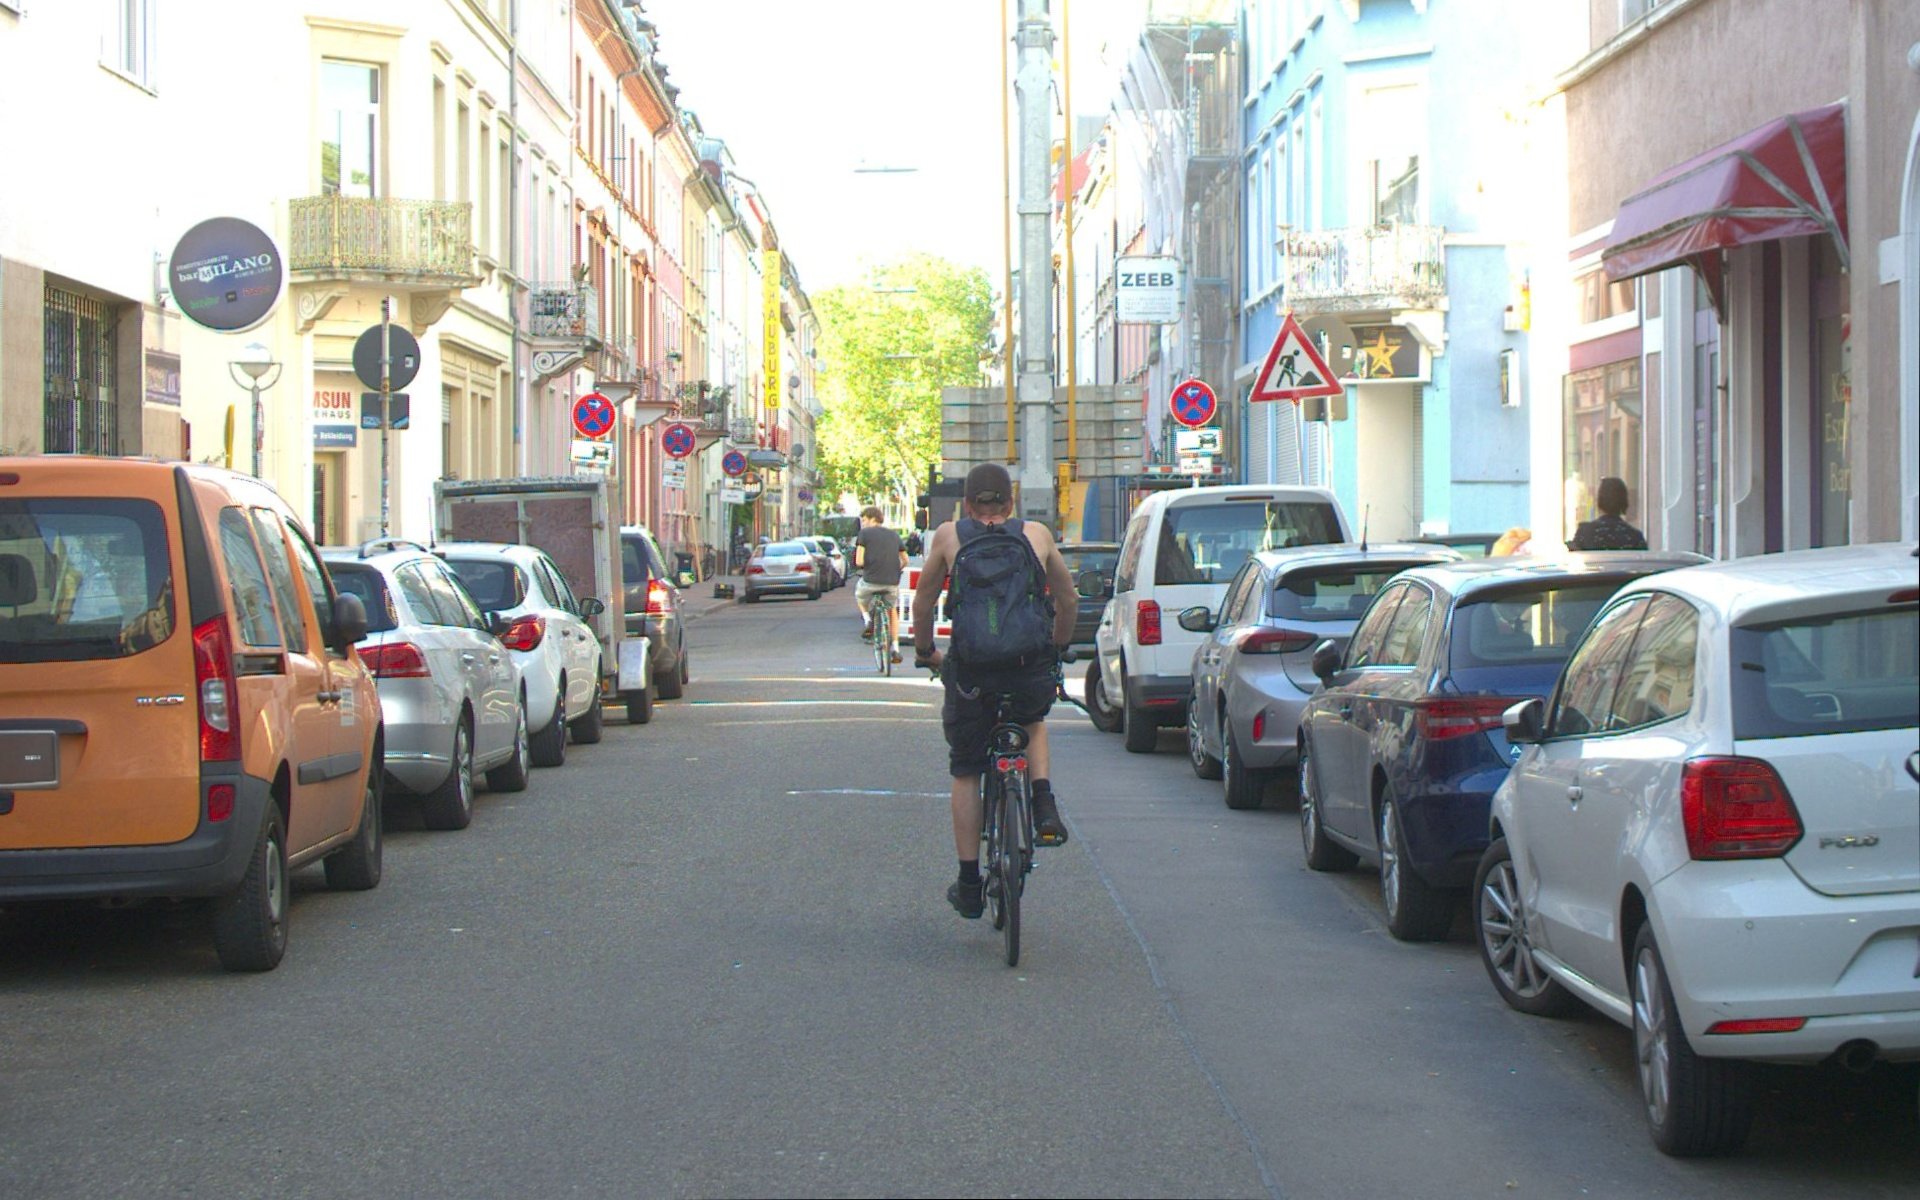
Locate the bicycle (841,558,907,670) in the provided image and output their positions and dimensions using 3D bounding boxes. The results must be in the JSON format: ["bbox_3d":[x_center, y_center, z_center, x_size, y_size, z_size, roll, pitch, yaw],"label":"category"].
[{"bbox_3d":[-0.895,0.130,36.104,0.648,1.125,2.136,1,1,-1],"label":"bicycle"}]

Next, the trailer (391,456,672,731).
[{"bbox_3d":[-3.462,-0.069,28.390,1.882,2.085,3.737,-1,1,-1],"label":"trailer"}]

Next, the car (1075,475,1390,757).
[{"bbox_3d":[1.910,0.085,25.214,1.750,1.872,3.973,-1,1,-3],"label":"car"}]

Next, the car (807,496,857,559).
[{"bbox_3d":[-4.777,-2.700,128.584,1.750,2.310,3.796,-1,1,-1],"label":"car"}]

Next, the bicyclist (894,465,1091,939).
[{"bbox_3d":[0.104,0.357,12.748,0.667,1.671,1.097,1,0,-1],"label":"bicyclist"}]

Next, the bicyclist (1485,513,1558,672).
[{"bbox_3d":[6.093,-0.082,37.311,0.681,1.700,0.381,1,0,-3],"label":"bicyclist"}]

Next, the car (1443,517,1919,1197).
[{"bbox_3d":[2.488,0.533,9.646,1.667,1.500,3.816,-3,1,0],"label":"car"}]

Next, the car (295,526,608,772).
[{"bbox_3d":[-3.415,0.291,23.649,1.653,1.532,3.634,-1,1,-1],"label":"car"}]

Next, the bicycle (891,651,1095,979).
[{"bbox_3d":[0.094,0.754,12.779,0.677,1.071,1.942,1,1,-1],"label":"bicycle"}]

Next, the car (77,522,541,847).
[{"bbox_3d":[-3.395,0.386,18.703,1.750,1.532,4.319,-1,1,-1],"label":"car"}]

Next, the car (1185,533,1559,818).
[{"bbox_3d":[2.312,0.382,20.156,1.750,1.481,3.800,-1,1,1],"label":"car"}]

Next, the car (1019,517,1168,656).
[{"bbox_3d":[1.615,-0.177,42.557,1.611,1.628,3.610,1,1,-1],"label":"car"}]

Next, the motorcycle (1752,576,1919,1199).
[{"bbox_3d":[2.095,0.709,6.167,0.747,1.485,2.422,1,1,-1],"label":"motorcycle"}]

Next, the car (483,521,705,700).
[{"bbox_3d":[-3.421,0.074,32.707,1.750,1.567,3.796,-1,1,-1],"label":"car"}]

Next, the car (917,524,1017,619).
[{"bbox_3d":[0.099,-0.492,58.859,1.611,1.555,3.610,1,1,-1],"label":"car"}]

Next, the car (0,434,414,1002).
[{"bbox_3d":[-3.270,0.379,13.146,1.752,1.810,4.078,-2,1,-2],"label":"car"}]

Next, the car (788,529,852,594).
[{"bbox_3d":[-4.024,-1.121,99.324,1.750,1.815,3.796,-1,1,-1],"label":"car"}]

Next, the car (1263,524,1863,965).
[{"bbox_3d":[2.343,0.499,14.335,1.646,1.470,3.971,-4,1,-1],"label":"car"}]

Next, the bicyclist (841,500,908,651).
[{"bbox_3d":[-0.894,-0.256,36.082,0.671,1.562,0.716,1,0,-1],"label":"bicyclist"}]

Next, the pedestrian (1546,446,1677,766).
[{"bbox_3d":[4.169,0.034,22.038,0.644,2.007,0.764,1,0,-1],"label":"pedestrian"}]

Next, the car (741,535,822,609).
[{"bbox_3d":[-4.206,-0.673,81.531,1.750,1.678,3.796,-1,1,-1],"label":"car"}]
